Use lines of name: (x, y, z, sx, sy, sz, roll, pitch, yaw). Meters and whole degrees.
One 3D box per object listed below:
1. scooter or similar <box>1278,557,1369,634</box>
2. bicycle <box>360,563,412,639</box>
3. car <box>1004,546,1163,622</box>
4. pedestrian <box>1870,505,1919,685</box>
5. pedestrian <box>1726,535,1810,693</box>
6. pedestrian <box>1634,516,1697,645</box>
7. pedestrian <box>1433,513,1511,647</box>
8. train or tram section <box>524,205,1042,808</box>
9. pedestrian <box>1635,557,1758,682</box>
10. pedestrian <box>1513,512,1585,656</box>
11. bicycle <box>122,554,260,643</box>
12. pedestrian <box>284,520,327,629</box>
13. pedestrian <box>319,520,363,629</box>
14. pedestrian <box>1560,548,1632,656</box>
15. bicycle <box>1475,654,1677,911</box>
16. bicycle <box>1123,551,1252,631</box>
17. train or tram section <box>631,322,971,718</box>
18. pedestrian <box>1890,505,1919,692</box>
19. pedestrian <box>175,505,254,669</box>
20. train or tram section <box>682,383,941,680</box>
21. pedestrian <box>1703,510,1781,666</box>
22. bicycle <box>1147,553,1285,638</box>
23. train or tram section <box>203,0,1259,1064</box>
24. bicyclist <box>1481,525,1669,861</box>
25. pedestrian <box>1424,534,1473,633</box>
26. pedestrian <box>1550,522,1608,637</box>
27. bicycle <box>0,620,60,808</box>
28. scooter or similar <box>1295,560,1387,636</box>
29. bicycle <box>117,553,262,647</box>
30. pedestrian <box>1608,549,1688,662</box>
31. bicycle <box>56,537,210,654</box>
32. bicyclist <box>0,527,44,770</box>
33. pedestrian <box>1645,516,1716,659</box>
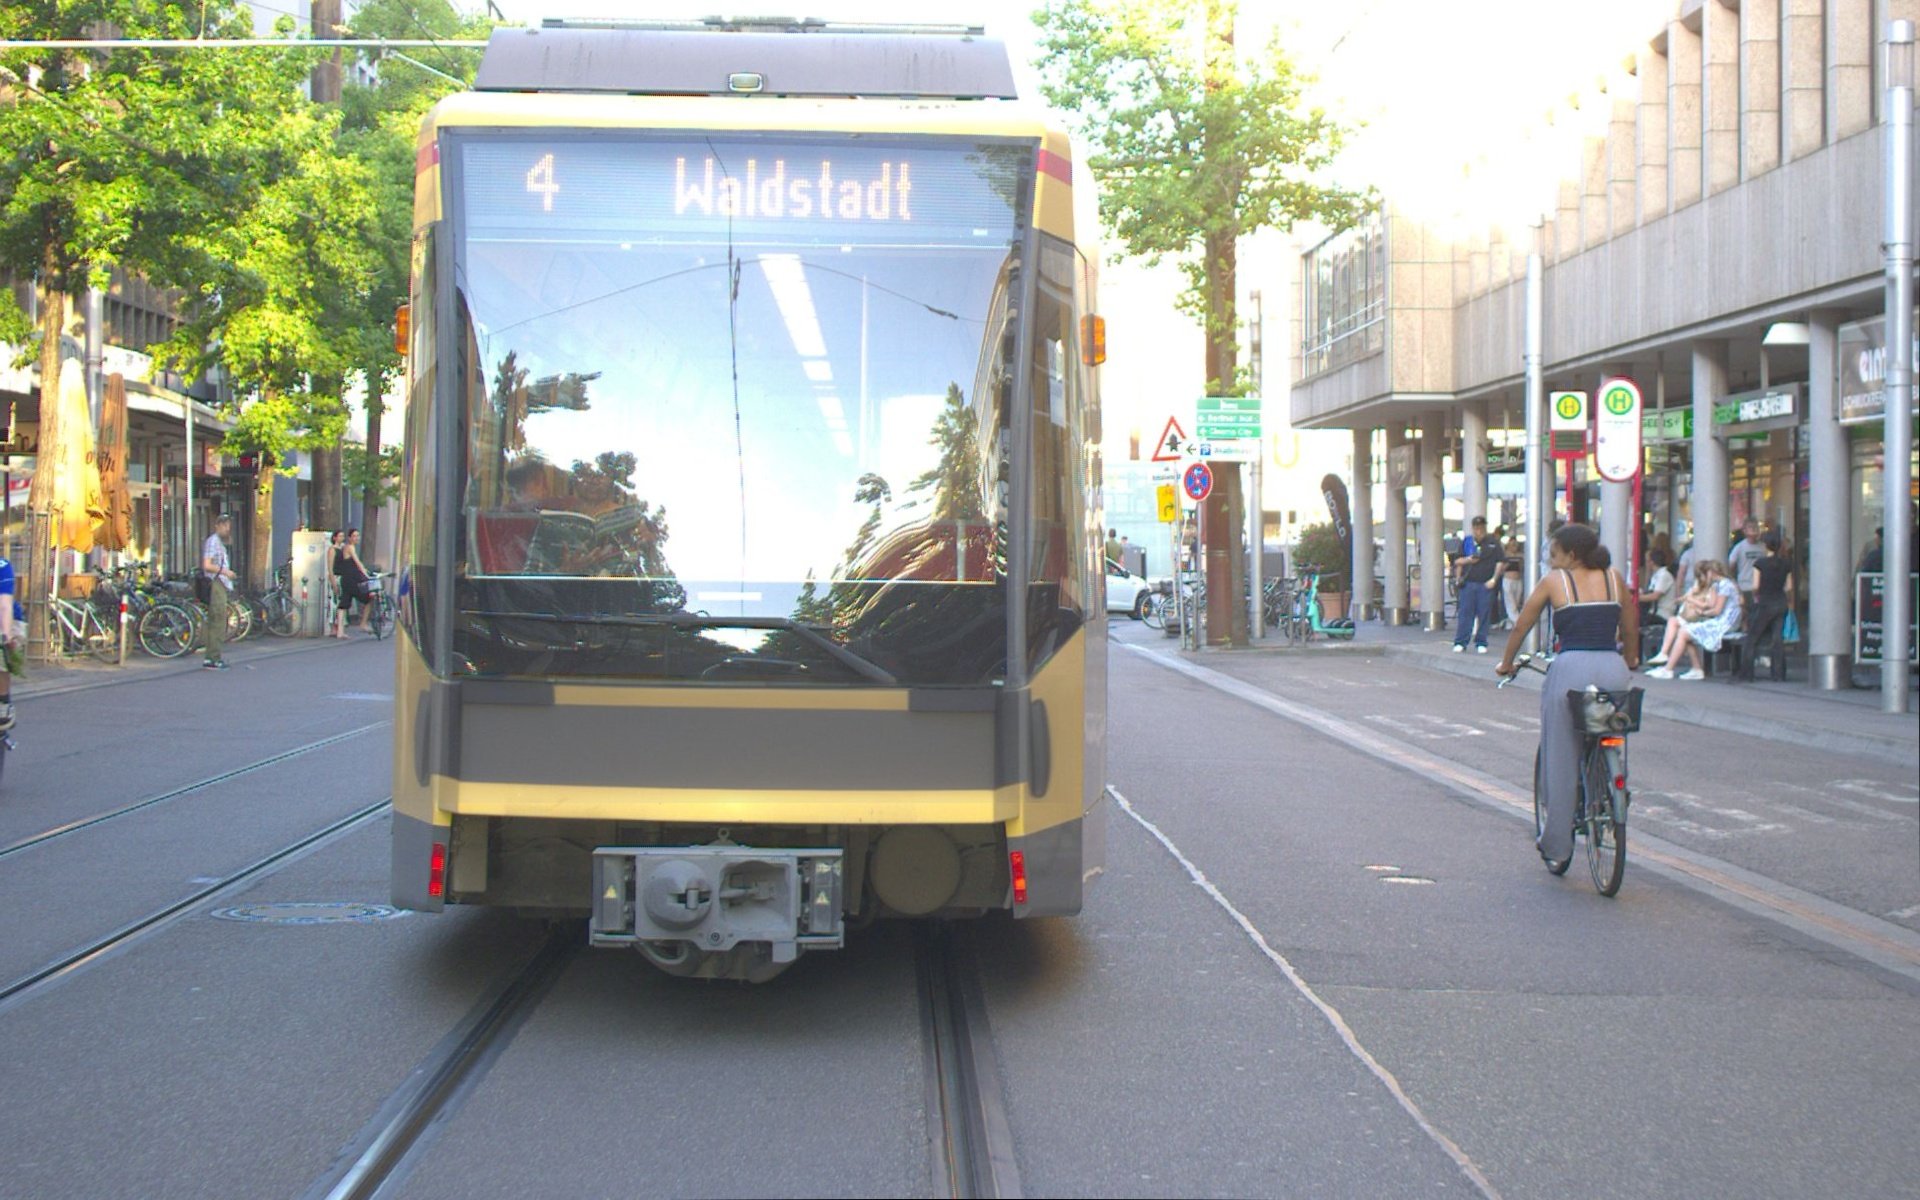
scooter or similar: (5.981, -0.074, 56.546, 1.379, 1.246, 0.557, -1, 0, -9)
bicycle: (-8.890, 0.009, 53.294, 0.611, 1.122, 2.252, 3, 0, -7)
car: (2.702, -0.333, 74.564, 1.645, 1.588, 3.912, 1, 0, 33)
pedestrian: (9.910, -0.064, 35.696, 0.701, 1.833, 0.706, -2, 2, -1)
pedestrian: (8.557, 0.143, 36.438, 0.701, 1.632, 0.646, -2, 2, -1)
pedestrian: (10.287, -0.291, 50.170, 0.701, 1.833, 0.829, -2, 2, -1)
pedestrian: (6.890, -0.274, 46.294, 0.888, 1.776, 0.752, 1, 0, -3)
train or tram section: (-1.231, -0.624, 25.520, 3.007, 3.511, 10.403, 1, 1, -2)
pedestrian: (8.087, 0.207, 37.781, 1.112, 1.323, 0.926, -2, 1, 0)
pedestrian: (7.375, -0.205, 43.097, 0.749, 1.776, 0.891, 1, 0, 2)
bicycle: (-10.552, -0.024, 47.226, 1.733, 1.122, 0.563, 3, 0, -5)
pedestrian: (-10.347, -0.402, 54.346, 0.573, 1.681, 0.553, 3, 0, -11)
pedestrian: (-9.685, -0.397, 53.774, 0.551, 1.681, 0.576, 3, 0, -5)
pedestrian: (8.022, 0.020, 43.356, 0.739, 1.323, 0.720, -2, 2, 0)
bicycle: (2.889, 0.826, 16.292, 0.656, 1.057, 2.057, 2, 1, 3)
bicycle: (4.311, -0.165, 65.153, 2.328, 1.466, 0.791, 1, 0, -5)
train or tram section: (-1.613, -0.792, 36.126, 3.003, 3.511, 10.846, 1, 1, -2)
pedestrian: (9.792, -0.035, 34.391, 0.701, 1.833, 0.829, -2, 2, -1)
pedestrian: (-8.713, -0.153, 40.206, 0.750, 1.873, 0.576, 3, 0, -5)
train or tram section: (-1.981, -0.907, 46.789, 3.044, 3.511, 10.532, 1, 1, -2)
pedestrian: (9.361, -0.151, 41.183, 0.701, 1.833, 0.829, -2, 2, -1)
bicycle: (4.544, -0.082, 61.065, 2.328, 1.466, 0.791, 1, 0, -5)
train or tram section: (-0.844, -0.483, 15.145, 3.016, 3.511, 10.371, 1, 1, -2)
bicyclist: (2.886, 0.427, 16.195, 0.726, 1.521, 0.733, 2, 0, 3)
pedestrian: (8.455, -0.284, 59.491, 0.701, 1.678, 0.680, -2, 2, -1)
pedestrian: (9.228, -0.313, 51.261, 0.701, 1.678, 0.680, -2, 2, -1)
bicycle: (-5.816, 0.650, 20.316, 0.641, 1.019, 1.589, 2, 1, -4)
scooter or similar: (6.168, -0.040, 55.658, 1.379, 1.206, 0.516, -1, 0, -15)
bicycle: (-10.028, -0.005, 44.794, 1.733, 1.122, 0.613, 3, 0, -8)
pedestrian: (8.315, 0.061, 41.553, 0.806, 1.323, 0.626, -2, 2, 0)
bicycle: (-10.345, -0.053, 43.042, 1.796, 1.355, 0.660, 3, 0, -13)
bicyclist: (-5.803, 0.275, 20.298, 0.620, 1.411, 0.700, 1, 0, -4)
pedestrian: (9.444, -0.169, 45.086, 0.701, 1.833, 0.829, -2, 2, -1)
